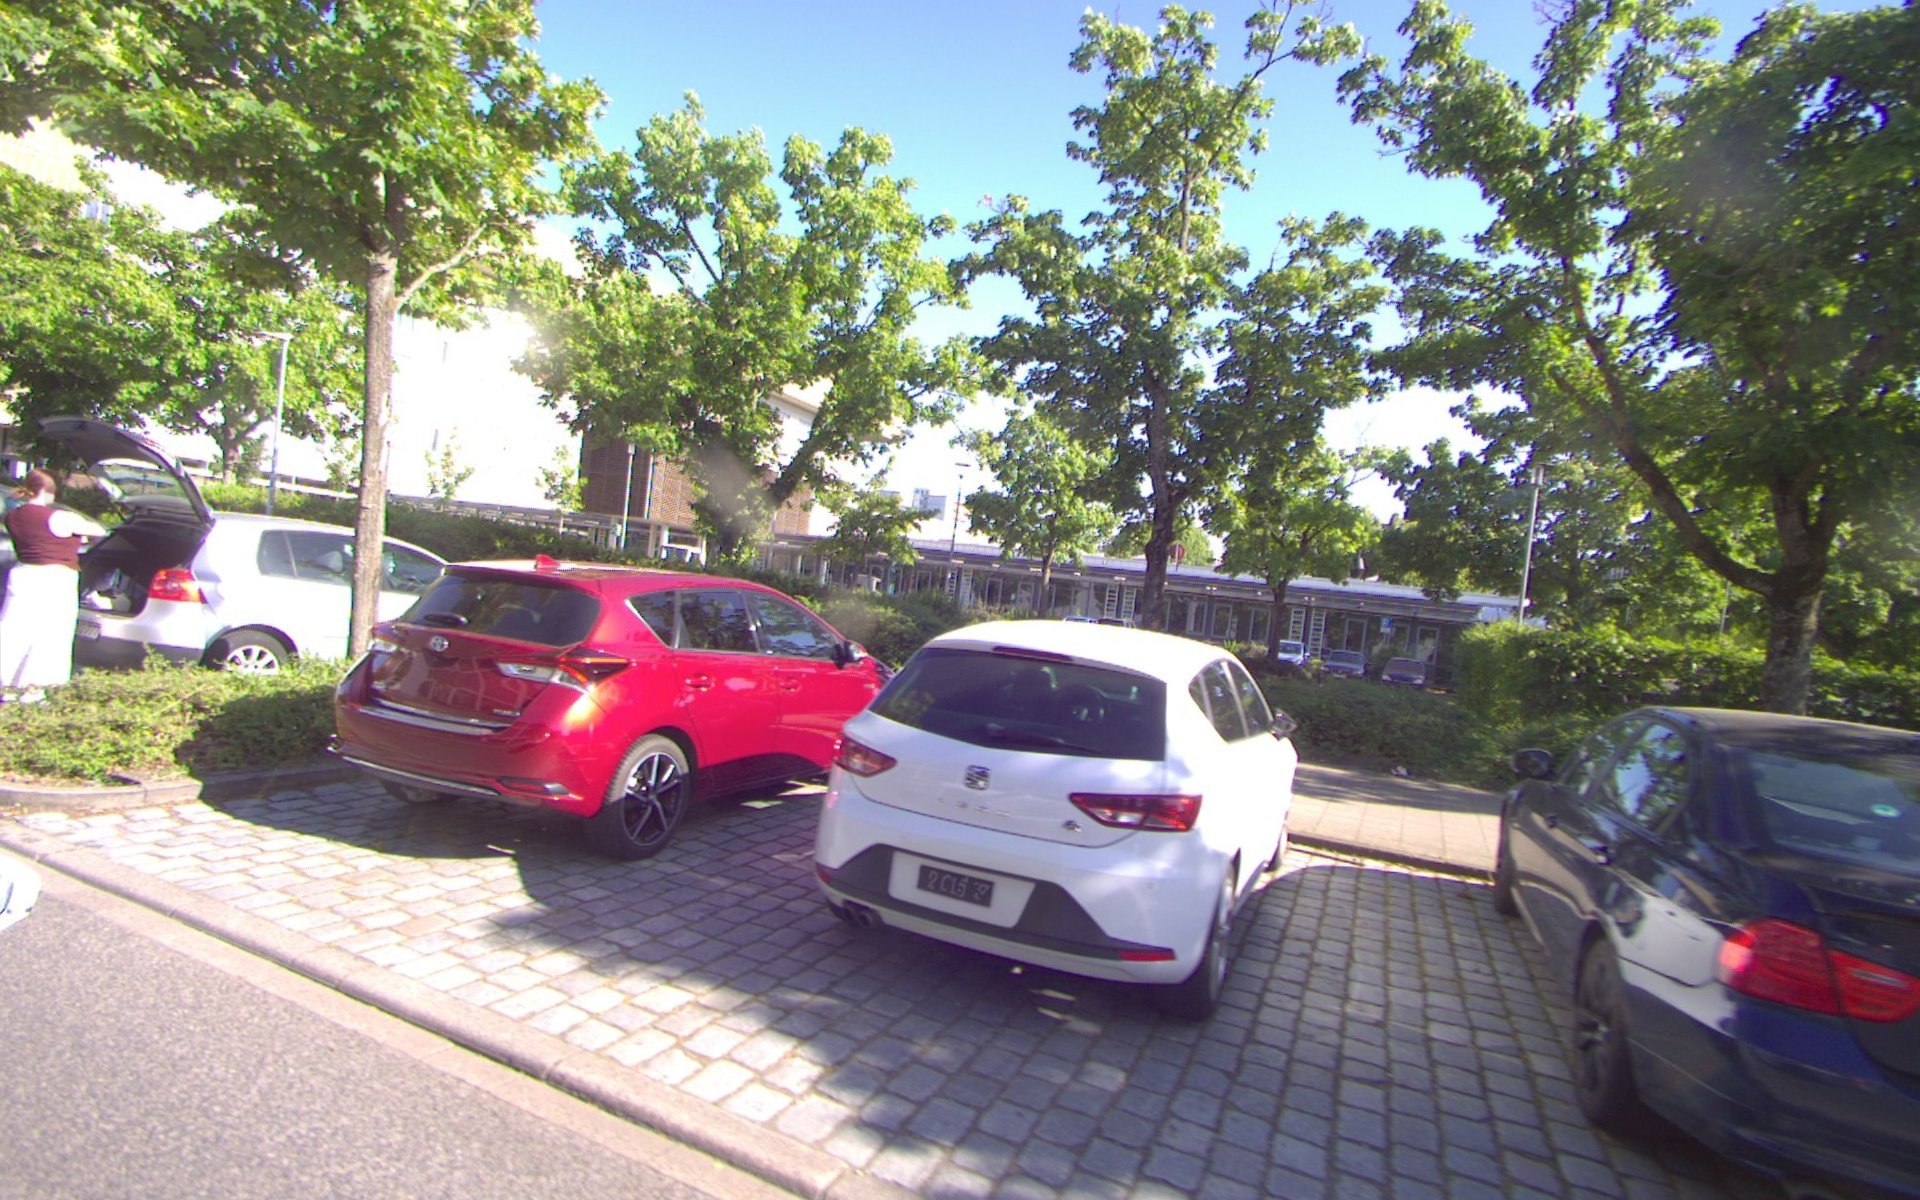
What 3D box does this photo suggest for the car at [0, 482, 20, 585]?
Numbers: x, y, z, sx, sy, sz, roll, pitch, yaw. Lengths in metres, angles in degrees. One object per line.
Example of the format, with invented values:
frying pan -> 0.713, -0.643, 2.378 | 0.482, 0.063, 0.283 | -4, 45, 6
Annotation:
car -> -15.895, -1.188, 13.820 | 1.810, 1.516, 3.903 | 7, 0, 26

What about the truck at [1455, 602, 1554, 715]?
truck -> 21.895, 2.361, 40.784 | 2.762, 3.854, 6.916 | 8, 1, 27

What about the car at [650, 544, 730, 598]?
car -> -14.891, -1.554, 55.663 | 2.193, 2.522, 3.641 | 7, 1, 27

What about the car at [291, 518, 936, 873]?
car -> -1.770, 0.490, 6.495 | 1.642, 1.444, 3.910 | 6, 0, 23

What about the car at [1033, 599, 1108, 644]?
car -> 5.193, 1.024, 46.902 | 1.868, 1.705, 3.993 | 8, 1, 29

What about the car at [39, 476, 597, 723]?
car -> -5.428, 0.056, 9.132 | 1.649, 1.597, 3.910 | 8, 1, 23

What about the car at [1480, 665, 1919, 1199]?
car -> 3.419, 1.151, 4.155 | 1.796, 1.424, 4.164 | 7, 1, 23

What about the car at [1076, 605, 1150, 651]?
car -> 7.036, 1.293, 45.950 | 1.868, 1.705, 3.993 | 8, 1, 29

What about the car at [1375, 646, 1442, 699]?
car -> 17.952, 2.885, 40.142 | 1.868, 1.705, 4.220 | 8, 1, 29

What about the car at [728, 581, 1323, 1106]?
car -> 0.762, 0.816, 5.271 | 1.775, 1.455, 3.907 | 7, 1, 23

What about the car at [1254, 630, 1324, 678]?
car -> 13.902, 2.294, 42.339 | 1.868, 1.705, 3.993 | 8, 1, 29

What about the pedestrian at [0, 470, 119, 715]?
pedestrian -> -6.470, -0.064, 7.008 | 0.760, 1.599, 0.667 | 7, 1, -37

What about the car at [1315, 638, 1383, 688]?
car -> 15.996, 2.600, 41.296 | 1.868, 1.705, 3.993 | 8, 1, 29

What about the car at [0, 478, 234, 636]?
car -> -10.257, -0.523, 10.321 | 1.705, 1.539, 4.196 | 7, 1, 23

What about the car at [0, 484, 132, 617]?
car -> -12.261, -0.721, 11.524 | 1.592, 1.486, 3.910 | 8, 1, 23
